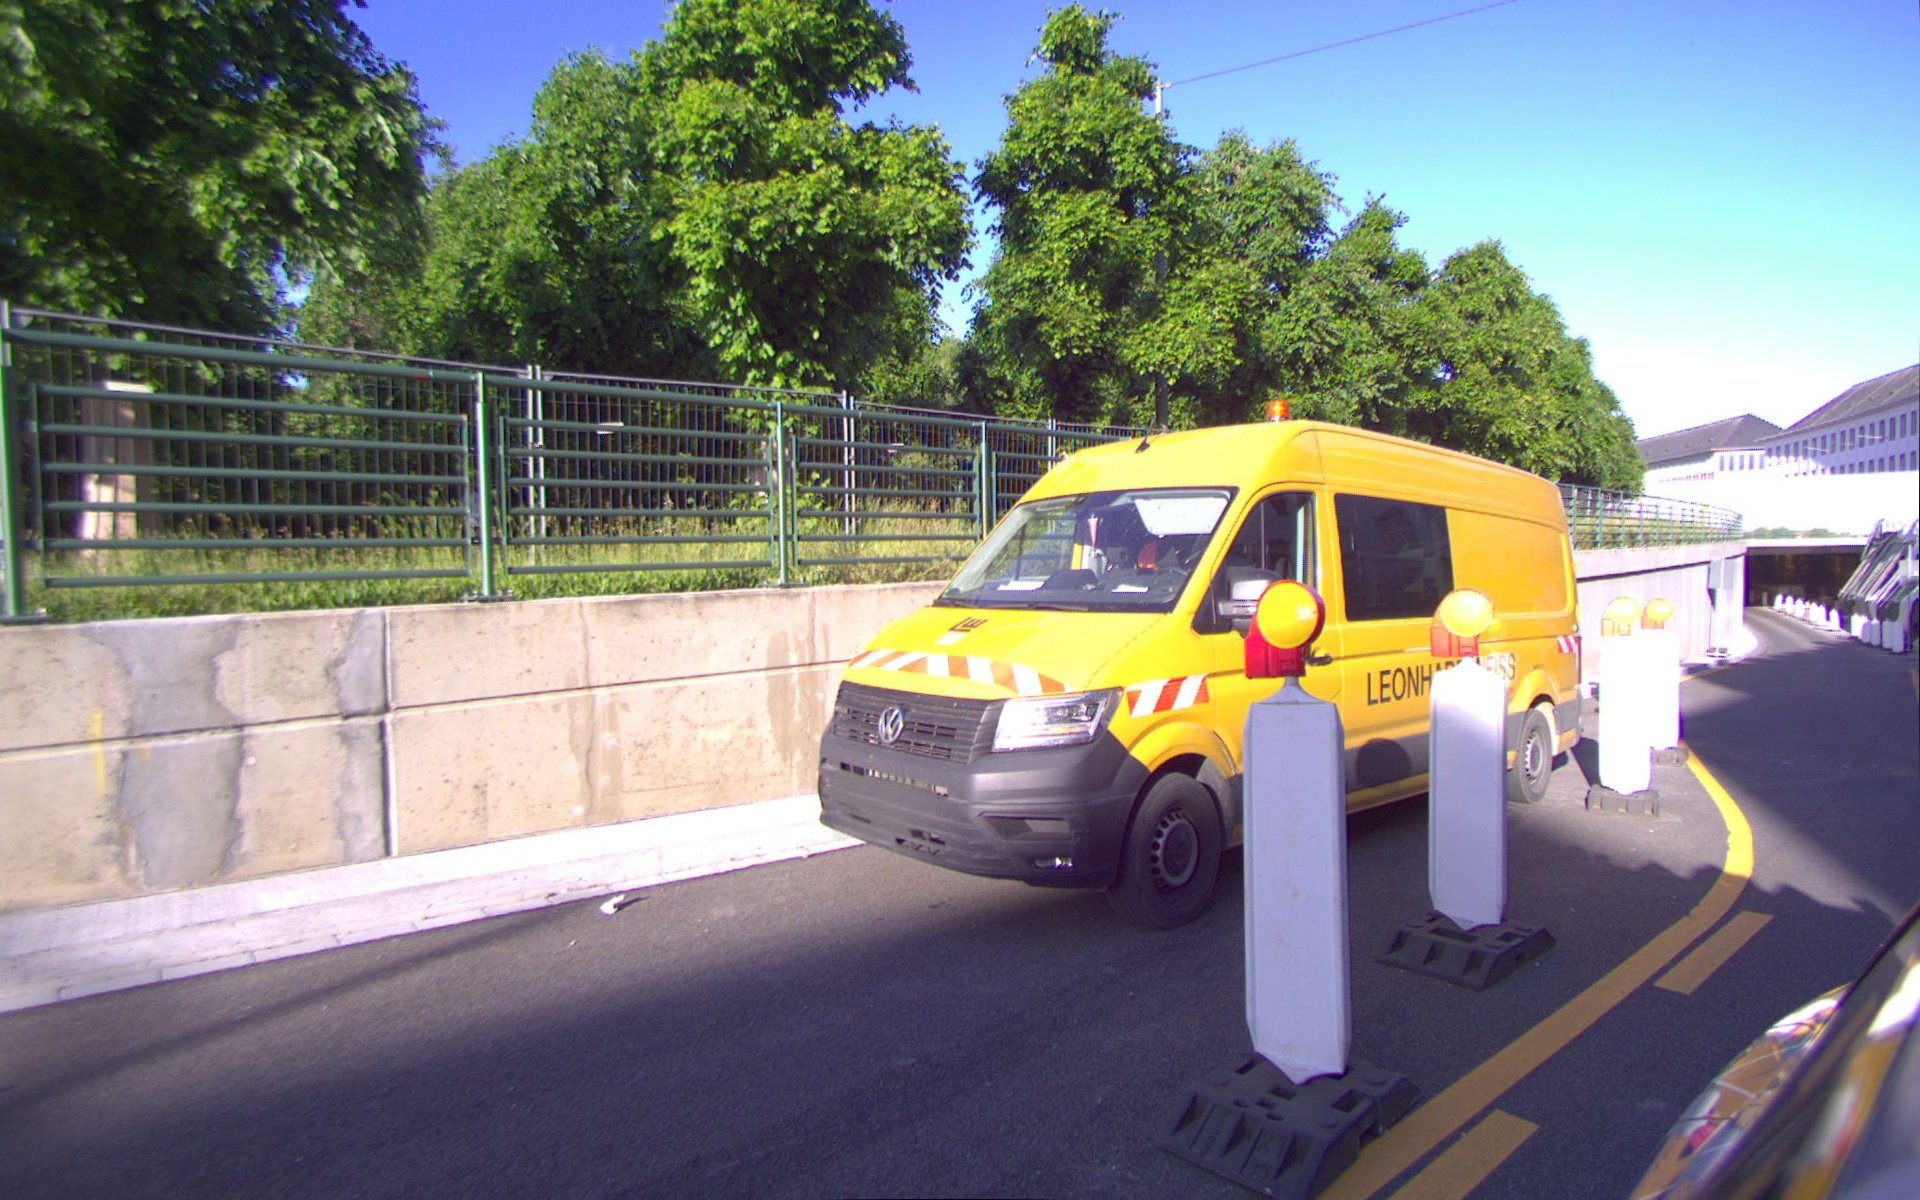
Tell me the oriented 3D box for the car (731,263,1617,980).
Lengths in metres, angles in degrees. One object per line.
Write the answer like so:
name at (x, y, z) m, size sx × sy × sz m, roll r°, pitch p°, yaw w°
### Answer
car at (2.067, 0.048, 6.809) m, size 6.864 × 2.657 × 2.116 m, roll 0°, pitch 1°, yaw -41°
